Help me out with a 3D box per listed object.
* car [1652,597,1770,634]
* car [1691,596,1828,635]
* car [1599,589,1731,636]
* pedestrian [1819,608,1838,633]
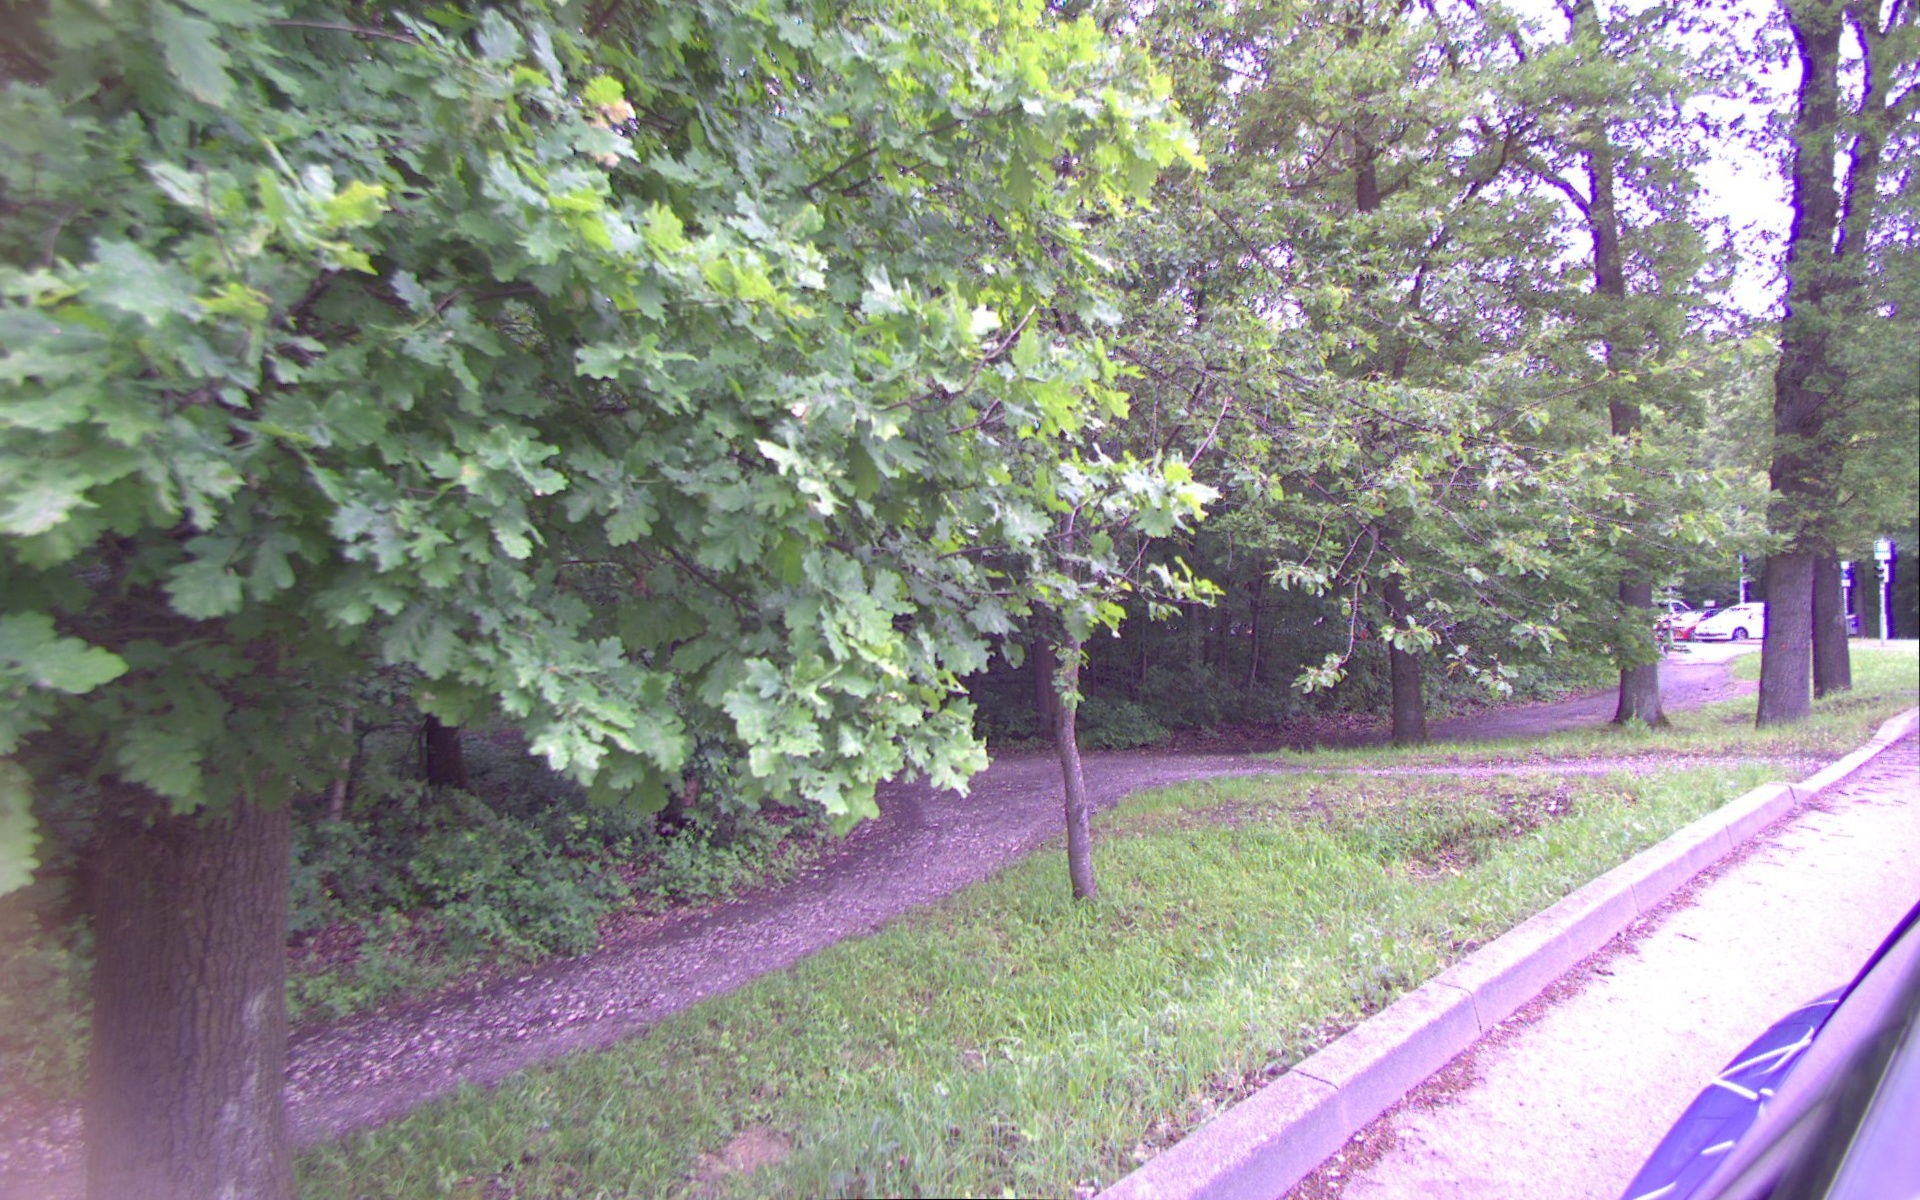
[{"bbox_3d":[33.656,0.717,45.423,3.920,1.572,1.896,-1,-2,-6],"label":"car"},{"bbox_3d":[33.964,0.682,43.075,4.332,1.572,2.001,-1,-2,-6],"label":"car"},{"bbox_3d":[33.512,0.592,48.161,5.077,1.982,2.065,-2,-2,-10],"label":"car"},{"bbox_3d":[58.762,1.370,68.456,1.018,1.672,0.831,1,-3,-43],"label":"pedestrian"}]
